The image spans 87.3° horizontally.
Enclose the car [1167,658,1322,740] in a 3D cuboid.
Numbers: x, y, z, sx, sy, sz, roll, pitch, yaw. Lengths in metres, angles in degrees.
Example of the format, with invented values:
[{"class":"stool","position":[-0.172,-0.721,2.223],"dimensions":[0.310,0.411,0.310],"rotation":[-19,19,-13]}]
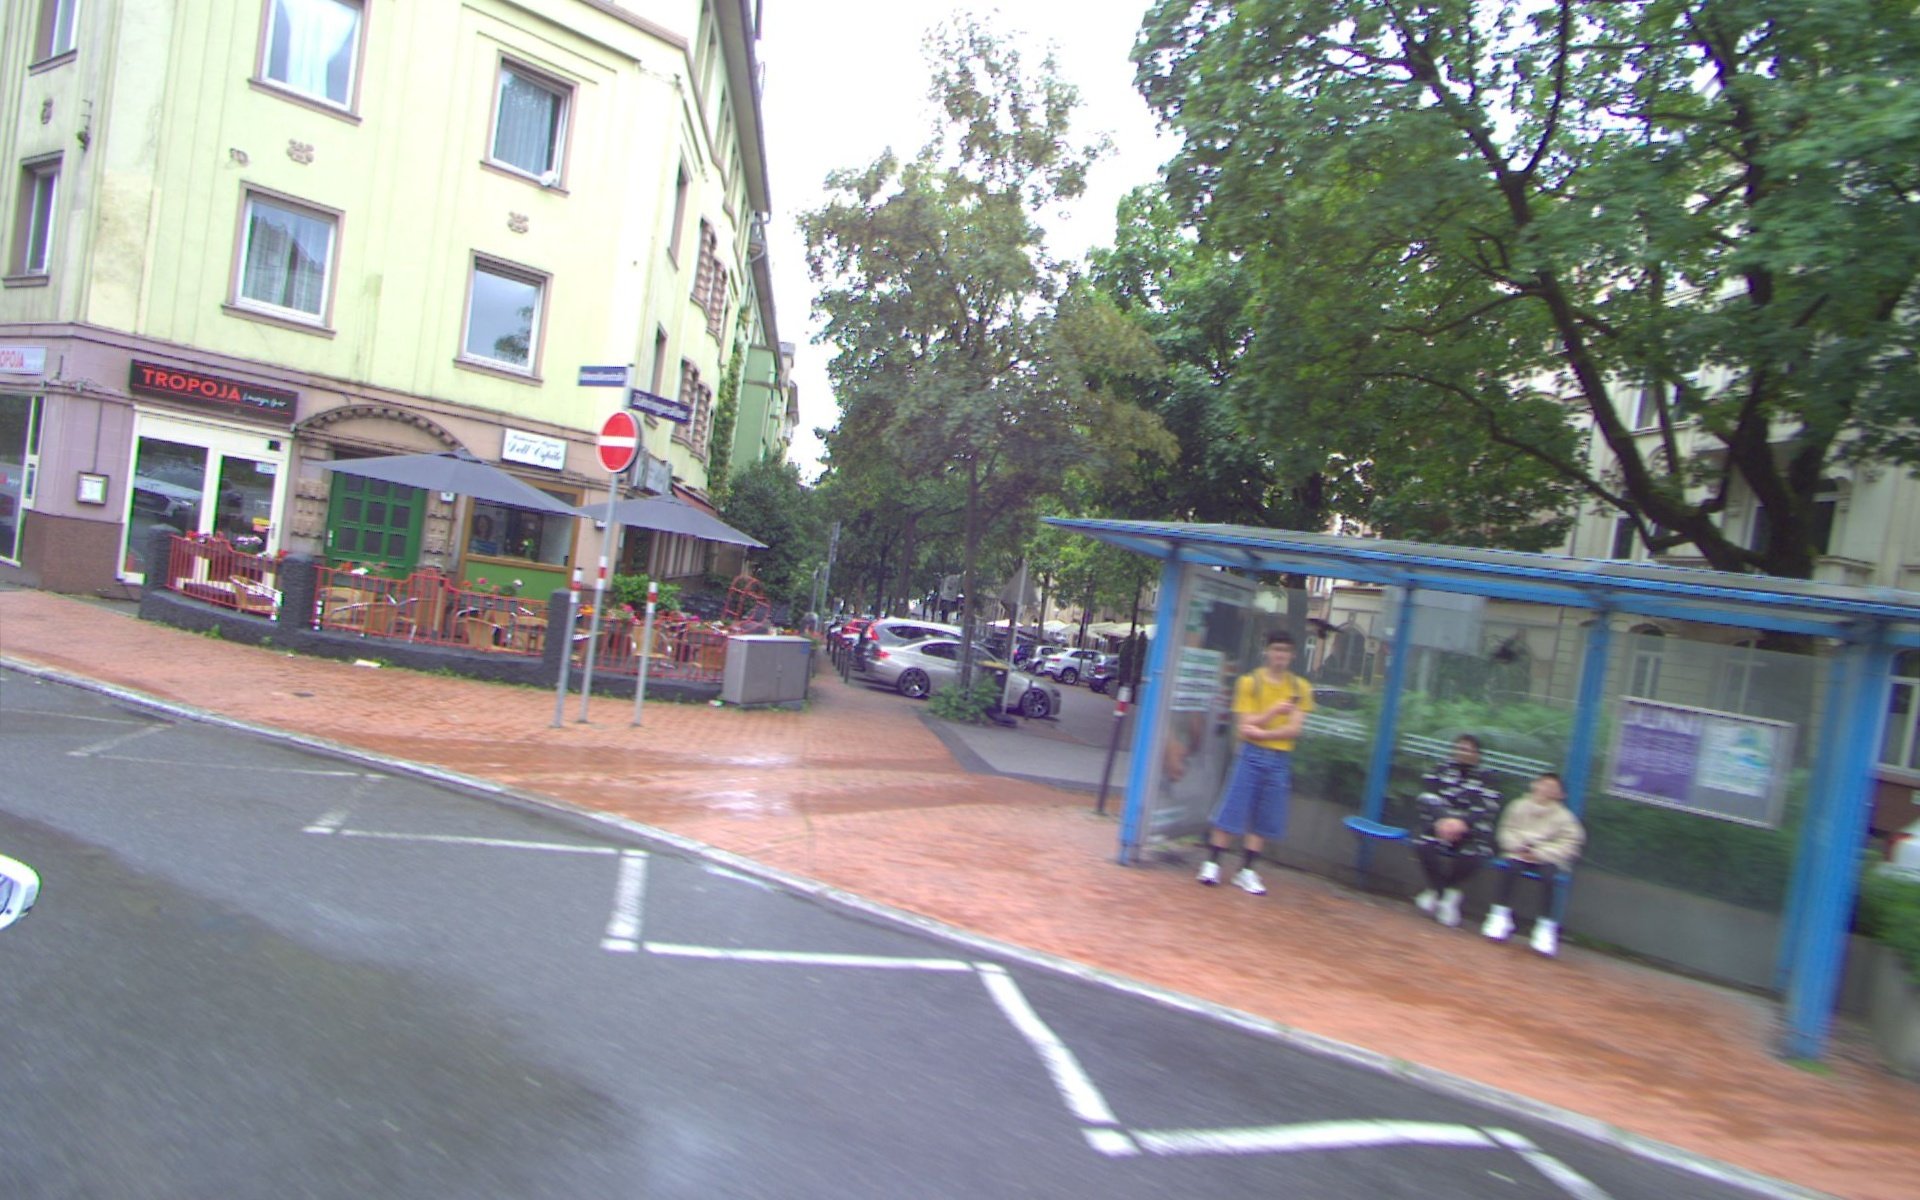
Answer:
[{"class":"car","position":[8.034,2.791,28.616],"dimensions":[3.720,1.685,1.678],"rotation":[9,-2,-6]}]

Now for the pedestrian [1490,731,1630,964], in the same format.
[{"class":"pedestrian","position":[3.784,1.522,6.338],"dimensions":[0.527,1.295,0.569],"rotation":[7,-1,41]}]

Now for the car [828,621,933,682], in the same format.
[{"class":"car","position":[-3.167,2.003,39.641],"dimensions":[3.833,1.767,1.791],"rotation":[9,-2,-9]}]

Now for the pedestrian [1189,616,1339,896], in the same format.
[{"class":"pedestrian","position":[2.085,1.054,6.919],"dimensions":[0.555,1.795,0.540],"rotation":[9,-1,-35]}]

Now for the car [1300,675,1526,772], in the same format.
[{"class":"car","position":[10.076,2.745,22.493],"dimensions":[4.263,1.411,1.706],"rotation":[9,-2,-9]}]

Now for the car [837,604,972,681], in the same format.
[{"class":"car","position":[-1.812,1.345,31.978],"dimensions":[3.934,1.809,1.791],"rotation":[9,-2,-9]}]

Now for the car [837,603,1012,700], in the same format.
[{"class":"car","position":[-0.918,1.259,24.848],"dimensions":[3.934,1.747,1.791],"rotation":[9,-2,-9]}]

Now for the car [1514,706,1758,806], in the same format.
[{"class":"car","position":[14.054,3.228,21.012],"dimensions":[3.931,1.546,1.874],"rotation":[6,-1,-9]}]

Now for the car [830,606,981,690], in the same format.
[{"class":"car","position":[-1.597,1.349,28.571],"dimensions":[3.934,1.747,1.791],"rotation":[9,-2,-9]}]

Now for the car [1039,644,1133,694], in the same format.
[{"class":"car","position":[5.452,2.990,43.841],"dimensions":[3.591,1.554,1.680],"rotation":[9,-2,-9]}]

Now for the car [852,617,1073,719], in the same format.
[{"class":"car","position":[0.003,1.489,22.520],"dimensions":[4.571,1.545,1.791],"rotation":[9,-2,-9]}]

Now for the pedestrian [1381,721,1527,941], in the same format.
[{"class":"pedestrian","position":[3.318,1.514,6.749],"dimensions":[0.610,1.295,0.569],"rotation":[7,-1,41]}]

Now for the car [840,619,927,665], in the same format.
[{"class":"car","position":[-3.692,1.989,48.259],"dimensions":[3.833,1.606,1.730],"rotation":[9,-2,-9]}]

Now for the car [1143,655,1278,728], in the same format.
[{"class":"car","position":[7.764,2.831,31.322],"dimensions":[3.591,1.685,1.588],"rotation":[9,-2,-9]}]

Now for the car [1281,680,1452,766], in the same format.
[{"class":"car","position":[9.977,3.013,24.805],"dimensions":[3.443,1.481,1.589],"rotation":[9,-2,-9]}]

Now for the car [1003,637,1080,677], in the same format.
[{"class":"car","position":[4.314,3.005,53.420],"dimensions":[3.591,1.554,1.680],"rotation":[9,-2,-9]}]

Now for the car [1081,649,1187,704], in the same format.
[{"class":"car","position":[6.762,2.980,39.274],"dimensions":[3.591,1.554,1.680],"rotation":[9,-2,-9]}]

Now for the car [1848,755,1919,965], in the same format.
[{"class":"car","position":[8.350,2.082,6.381],"dimensions":[1.743,1.518,3.672],"rotation":[10,-3,-10]}]
